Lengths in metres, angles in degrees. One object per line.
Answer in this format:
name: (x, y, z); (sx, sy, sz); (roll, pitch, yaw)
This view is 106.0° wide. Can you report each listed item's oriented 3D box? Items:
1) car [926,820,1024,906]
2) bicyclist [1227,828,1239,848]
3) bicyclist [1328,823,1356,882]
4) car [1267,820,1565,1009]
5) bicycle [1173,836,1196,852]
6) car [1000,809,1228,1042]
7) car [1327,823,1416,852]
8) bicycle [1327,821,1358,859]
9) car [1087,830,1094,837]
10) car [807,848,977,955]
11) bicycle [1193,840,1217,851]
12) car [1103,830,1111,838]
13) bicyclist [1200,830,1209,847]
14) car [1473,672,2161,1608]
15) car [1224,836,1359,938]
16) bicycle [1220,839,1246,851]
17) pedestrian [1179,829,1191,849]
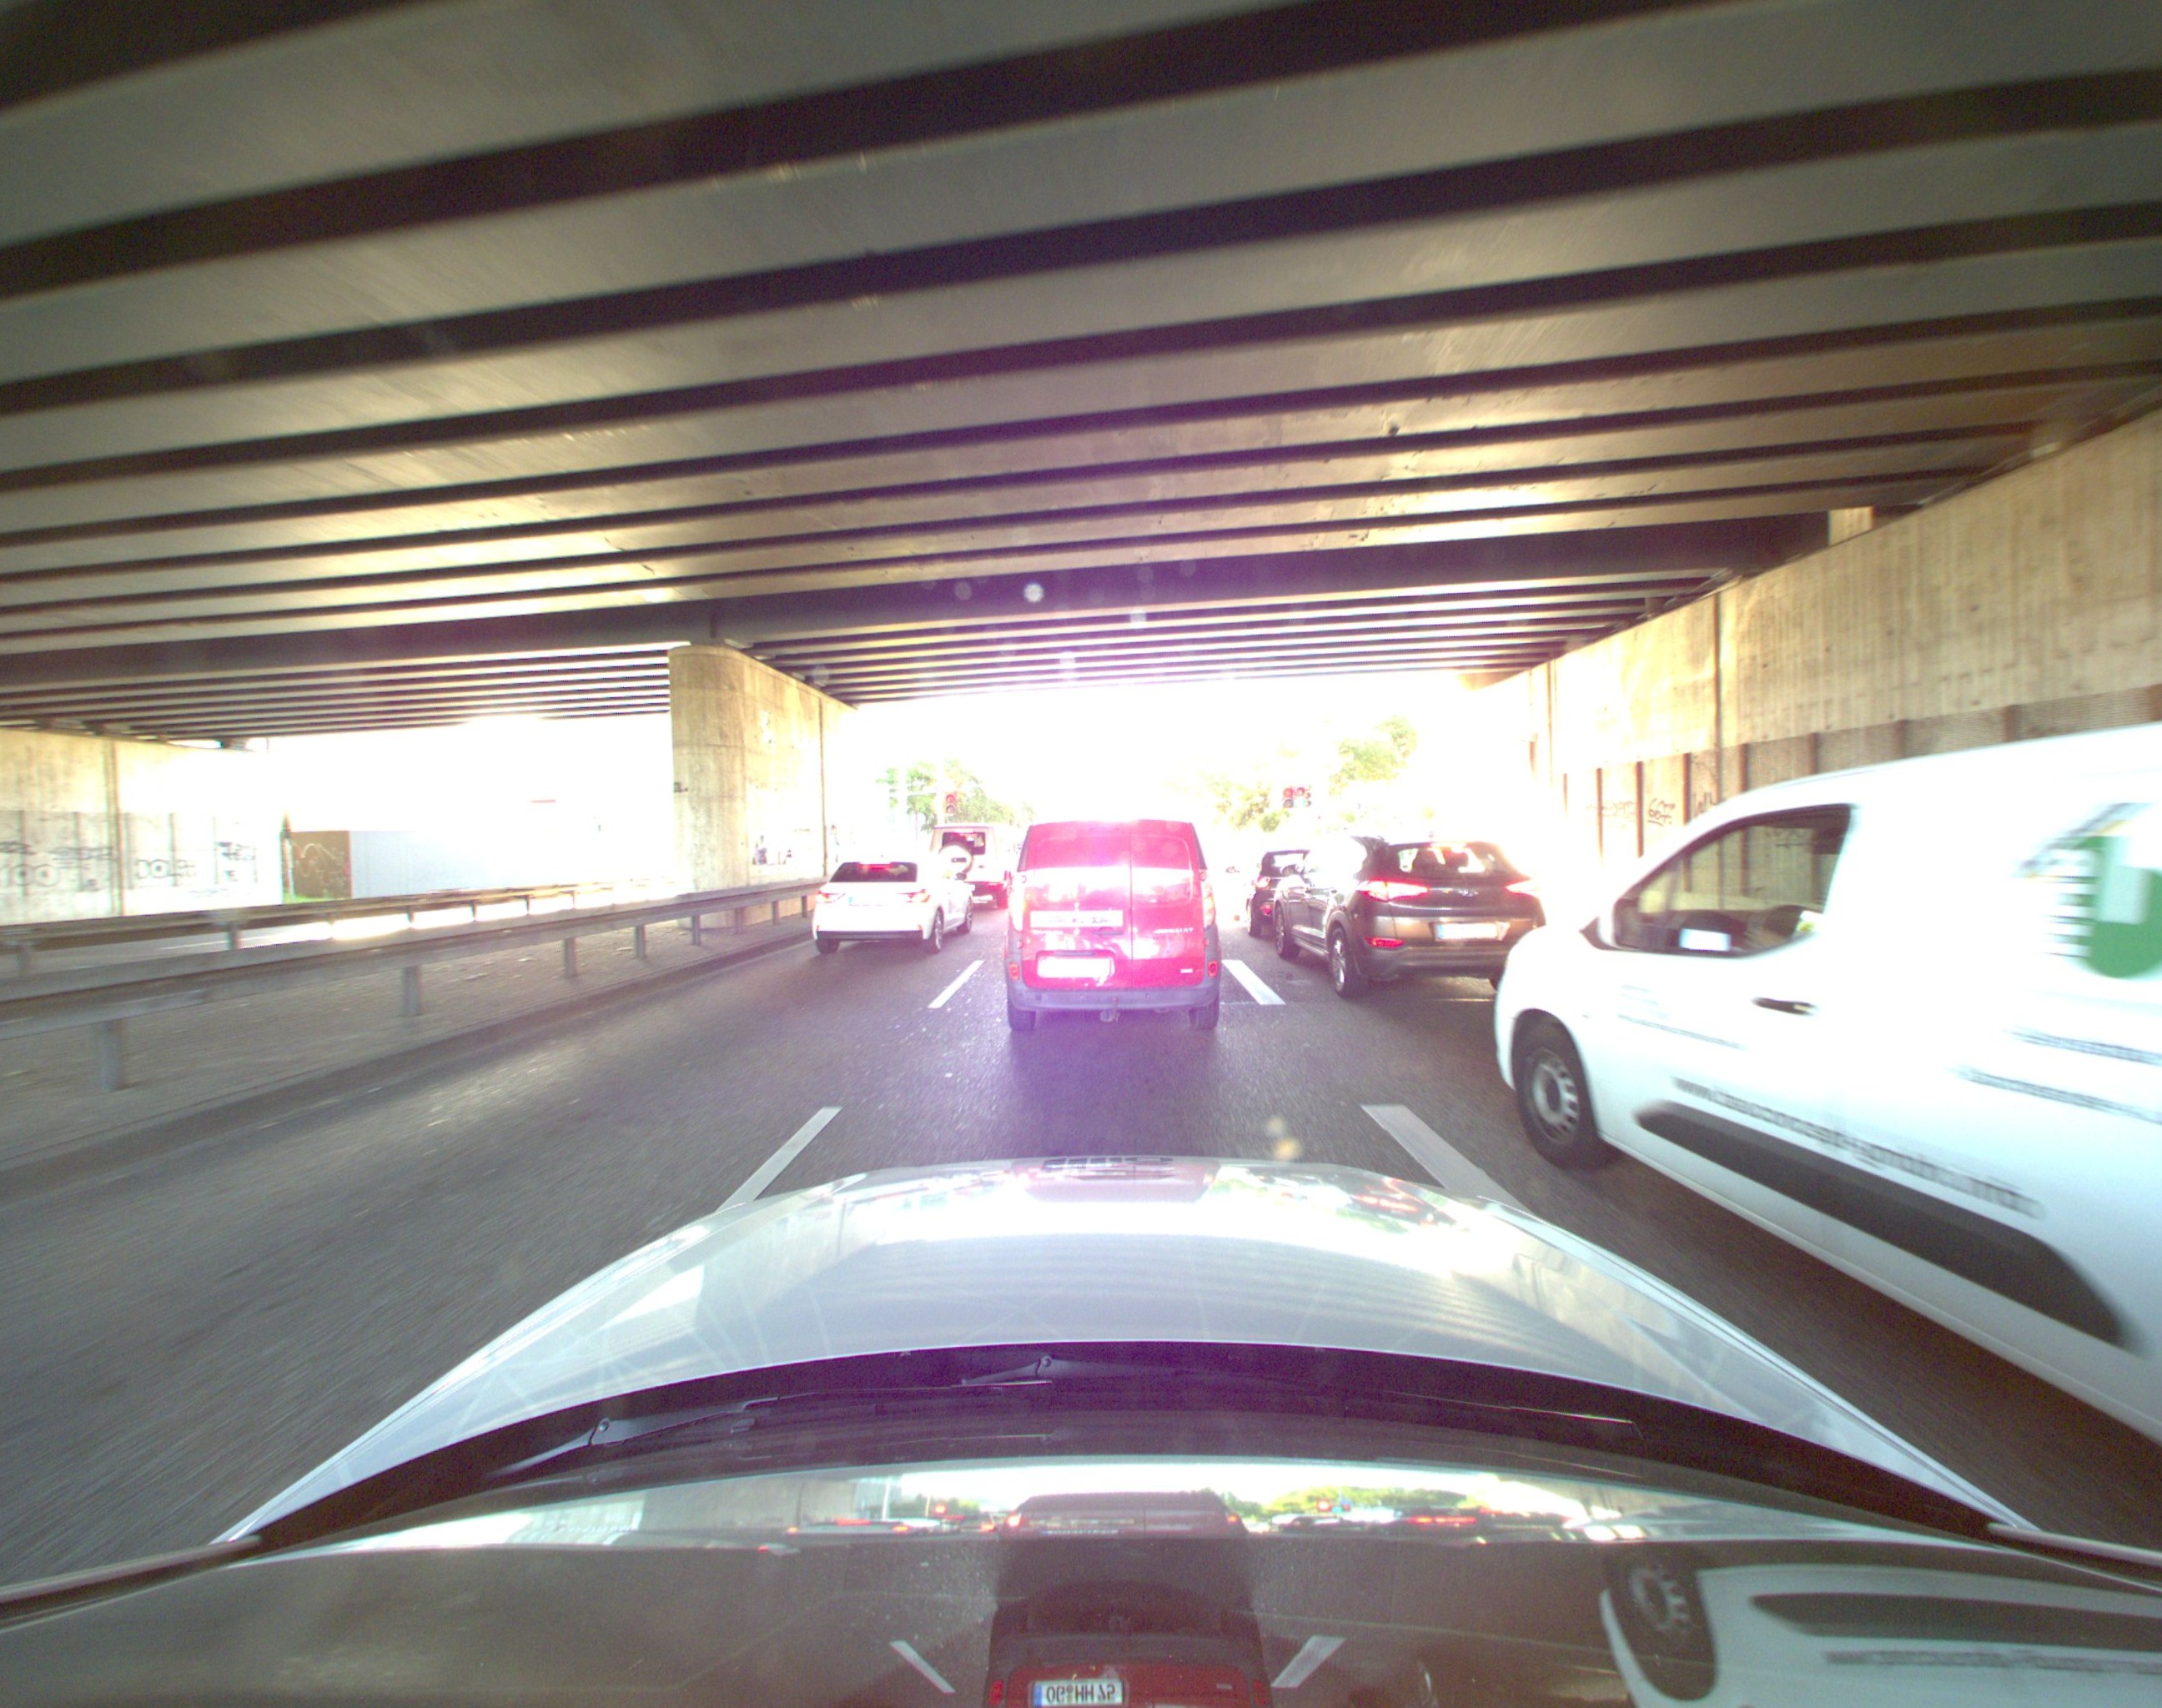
car: (-2.506, 0.190, 20.186); (1.807, 1.903, 3.814); (-1, 0, 1)
bicyclist: (12.218, -1.281, 65.445); (0.753, 1.542, 0.696); (-1, 0, -2)
bicyclist: (7.269, -0.045, 22.677); (0.673, 1.629, 0.646); (0, 0, 12)
car: (3.410, 0.509, 9.174); (1.772, 1.655, 3.991); (0, 1, 1)
bicycle: (8.250, -0.815, 64.763); (1.726, 1.233, 0.557); (-1, 0, -5)
car: (0.326, 0.528, 8.188); (1.712, 1.764, 4.002); (-1, 0, 2)
car: (16.393, -0.919, 46.061); (4.334, 1.607, 1.999); (0, 0, -1)
bicycle: (7.266, -0.373, 22.681); (0.672, 1.024, 1.534); (0, 0, 13)
car: (2.797, -6.106, 240.001); (1.986, 2.013, 4.002); (0, 0, 2)
car: (-2.781, 0.628, 12.810); (1.686, 1.410, 3.814); (-1, 0, 1)
bicycle: (10.152, -0.676, 66.737); (1.908, 0.867, 0.605); (-1, 0, -2)
car: (7.108, -5.542, 222.020); (1.986, 2.013, 4.002); (0, 0, 2)
bicyclist: (10.140, -1.257, 66.735); (0.651, 1.329, 0.602); (0, 0, -1)
car: (3.027, 0.537, 2.325); (1.807, 1.833, 4.301); (-1, 1, 1)
car: (3.578, 0.470, 14.470); (1.645, 1.552, 3.868); (0, 1, 4)
bicycle: (12.240, -0.718, 65.455); (1.948, 0.874, 0.699); (-1, 0, -2)
pedestrian: (8.252, -1.173, 64.757); (0.835, 1.554, 0.556); (-1, 0, -4)
